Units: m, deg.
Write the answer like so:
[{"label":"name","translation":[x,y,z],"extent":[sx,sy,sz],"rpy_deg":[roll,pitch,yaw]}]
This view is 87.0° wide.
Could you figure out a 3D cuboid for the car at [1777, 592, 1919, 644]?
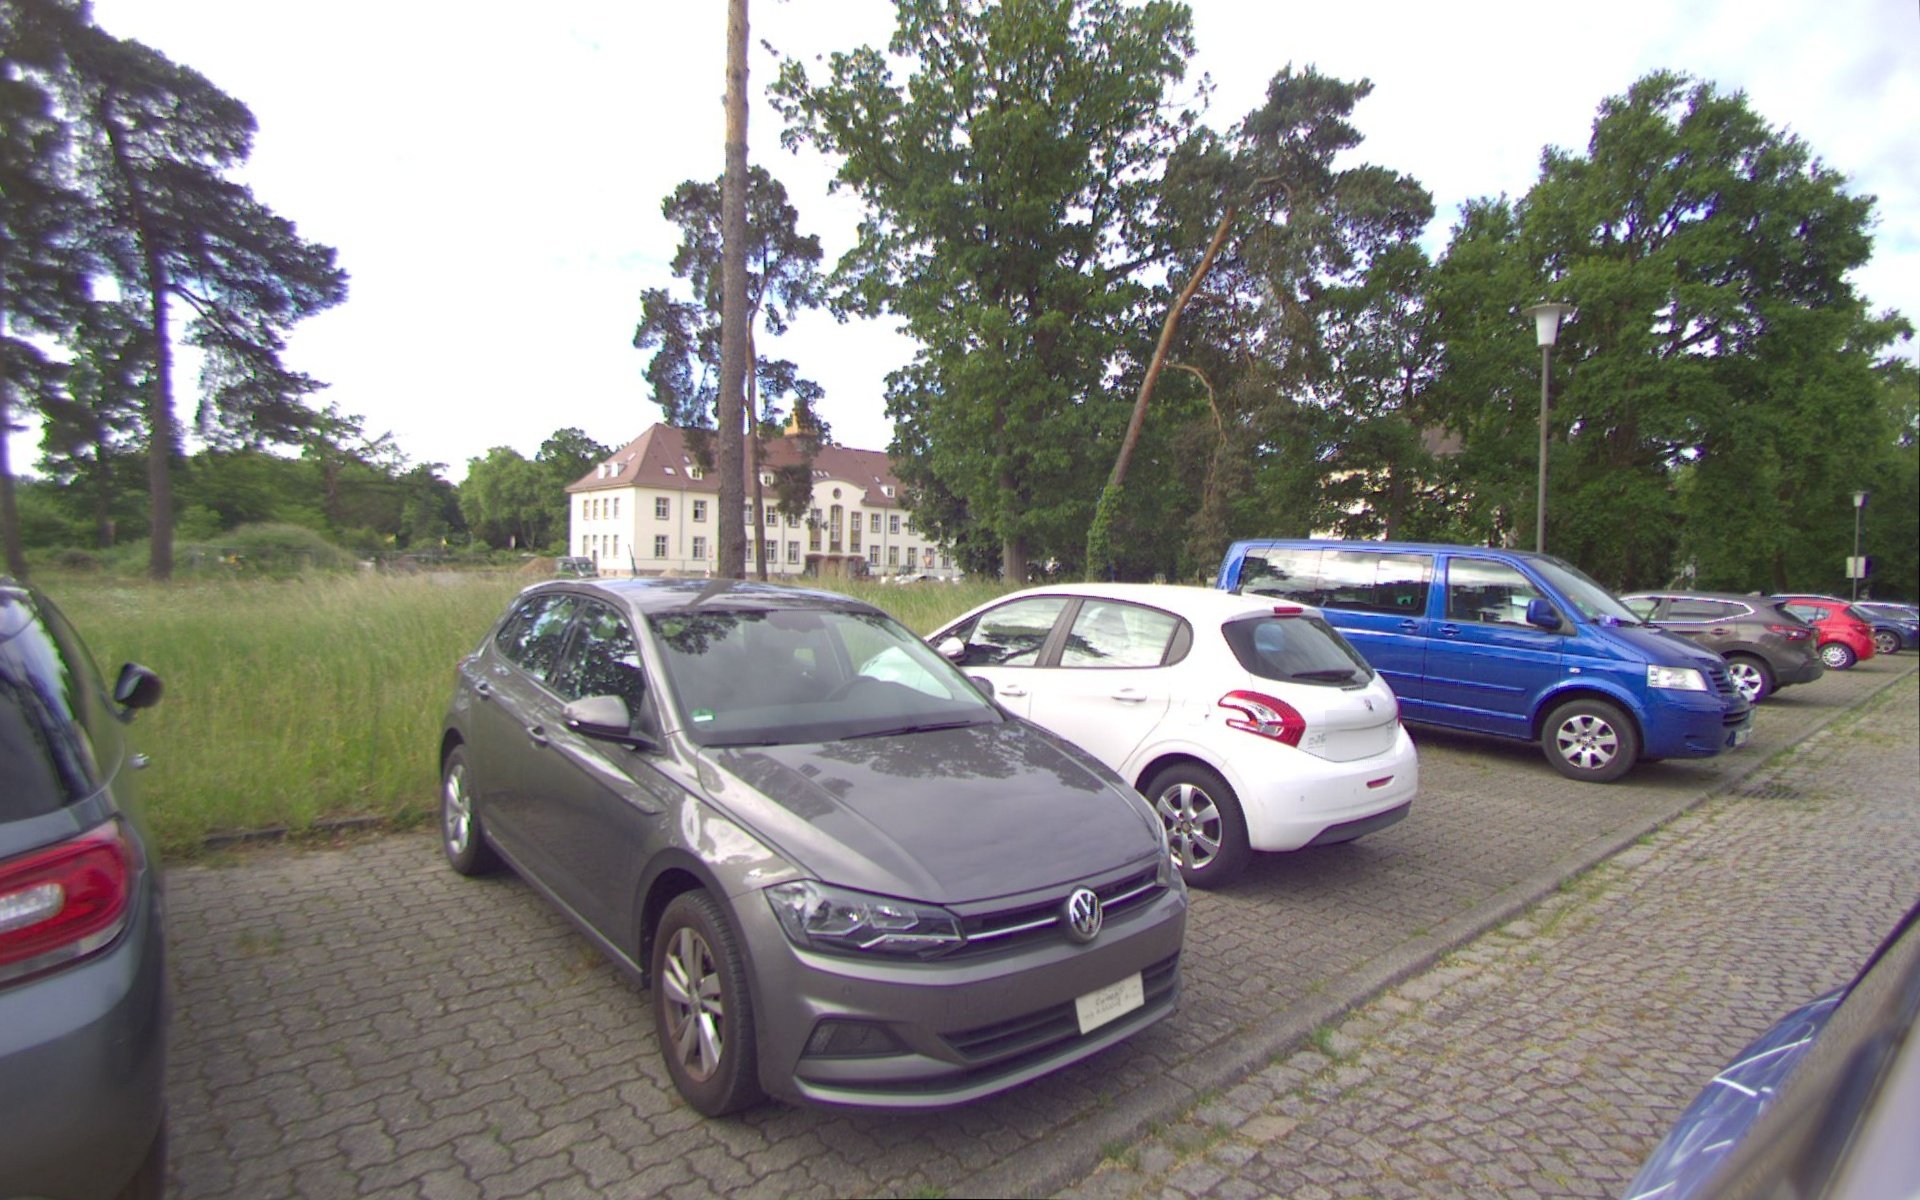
[{"label":"car","translation":[29.568,0.564,32.908],"extent":[1.892,1.456,4.367],"rpy_deg":[0,3,-40]}]

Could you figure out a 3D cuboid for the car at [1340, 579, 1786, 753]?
[{"label":"car","translation":[6.760,0.598,11.661],"extent":[1.694,1.497,4.101],"rpy_deg":[0,3,-45]}]

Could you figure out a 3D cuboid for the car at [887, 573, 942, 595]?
[{"label":"car","translation":[-3.406,-1.181,75.879],"extent":[4.008,1.571,1.652],"rpy_deg":[0,1,-41]}]

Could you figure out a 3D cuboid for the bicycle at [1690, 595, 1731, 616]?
[{"label":"bicycle","translation":[44.235,0.292,59.673],"extent":[1.838,1.185,0.484],"rpy_deg":[1,1,23]}]

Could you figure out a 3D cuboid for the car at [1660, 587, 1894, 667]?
[{"label":"car","translation":[18.534,0.546,23.063],"extent":[1.755,1.515,3.928],"rpy_deg":[0,3,-44]}]

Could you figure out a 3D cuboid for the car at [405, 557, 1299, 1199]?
[{"label":"car","translation":[-0.899,0.617,4.364],"extent":[1.735,1.465,4.138],"rpy_deg":[0,3,-42]}]

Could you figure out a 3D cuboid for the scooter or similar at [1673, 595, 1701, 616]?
[{"label":"scooter or similar","translation":[42.674,0.316,59.428],"extent":[0.406,1.185,1.306],"rpy_deg":[0,0,-43]}]

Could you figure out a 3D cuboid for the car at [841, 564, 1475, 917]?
[{"label":"car","translation":[1.026,0.587,6.494],"extent":[1.735,1.497,3.659],"rpy_deg":[0,3,-42]}]

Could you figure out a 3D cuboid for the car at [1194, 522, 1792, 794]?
[{"label":"car","translation":[4.928,0.310,9.962],"extent":[1.934,2.028,4.801],"rpy_deg":[0,3,-44]}]

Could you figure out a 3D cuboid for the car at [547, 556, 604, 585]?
[{"label":"car","translation":[-36.105,-2.726,95.010],"extent":[5.646,2.674,2.249],"rpy_deg":[1,1,36]}]

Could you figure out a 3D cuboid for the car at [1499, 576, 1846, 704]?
[{"label":"car","translation":[11.183,0.515,16.089],"extent":[1.921,1.614,4.208],"rpy_deg":[0,3,-44]}]

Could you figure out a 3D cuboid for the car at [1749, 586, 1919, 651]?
[{"label":"car","translation":[26.094,0.493,29.803],"extent":[1.855,1.642,4.250],"rpy_deg":[0,3,-44]}]

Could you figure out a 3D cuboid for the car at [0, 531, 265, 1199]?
[{"label":"car","translation":[-3.155,0.557,2.660],"extent":[1.713,1.505,3.511],"rpy_deg":[0,3,-43]}]
